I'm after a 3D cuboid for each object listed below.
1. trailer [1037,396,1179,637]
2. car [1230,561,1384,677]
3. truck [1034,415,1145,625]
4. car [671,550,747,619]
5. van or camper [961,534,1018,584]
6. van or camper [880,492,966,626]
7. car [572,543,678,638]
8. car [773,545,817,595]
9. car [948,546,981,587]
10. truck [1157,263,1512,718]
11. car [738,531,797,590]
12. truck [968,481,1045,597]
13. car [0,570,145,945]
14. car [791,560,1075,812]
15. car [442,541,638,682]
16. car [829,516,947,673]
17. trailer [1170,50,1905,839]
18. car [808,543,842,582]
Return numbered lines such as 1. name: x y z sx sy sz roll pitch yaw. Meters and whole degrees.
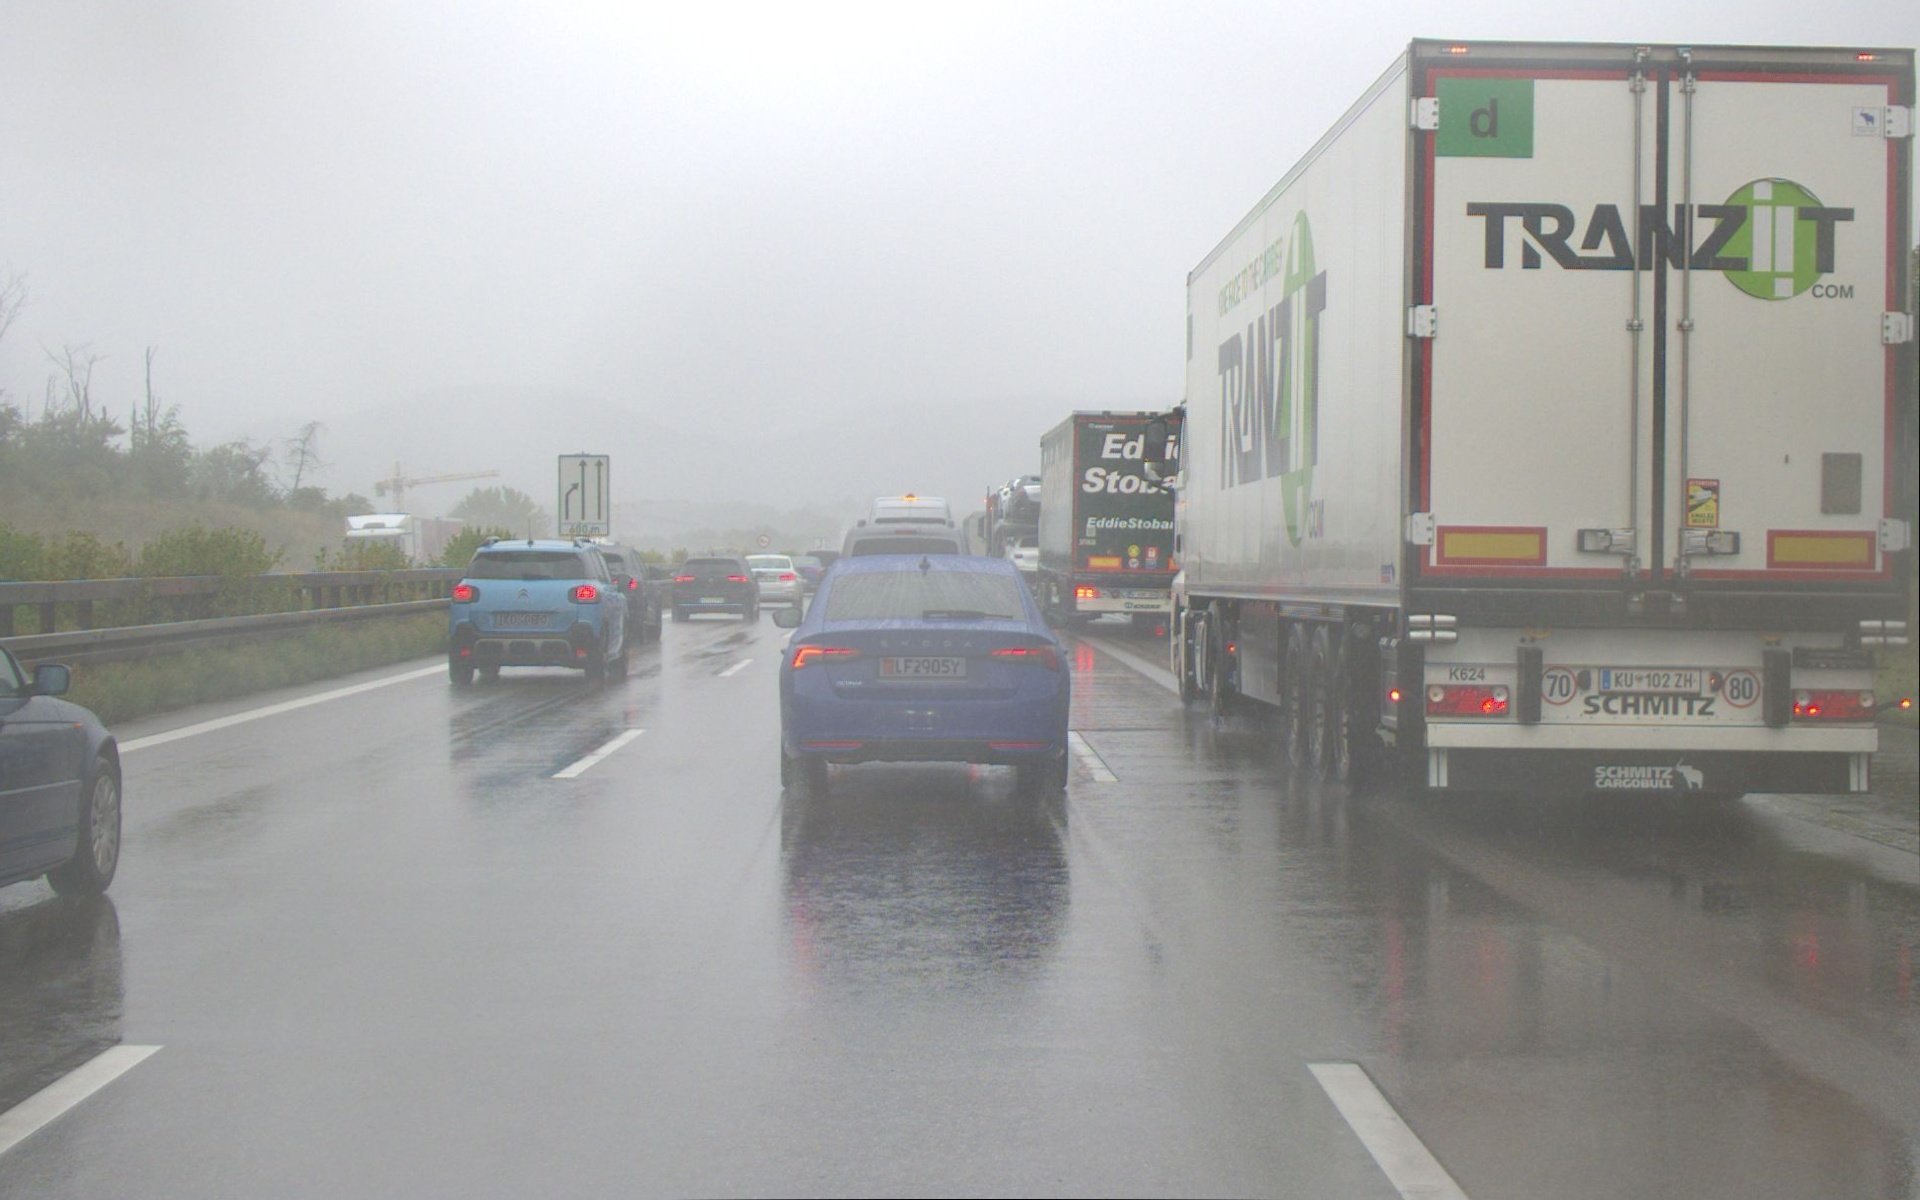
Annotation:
1. trailer: 2.692 -1.548 65.322 2.047 4.162 11.449 0 1 -1
2. car: 4.063 0.200 40.626 1.423 1.284 3.461 0 1 -1
3. truck: 2.626 -1.640 70.590 2.047 4.178 4.000 0 1 -1
4. car: -5.376 -0.349 73.813 1.439 1.415 3.322 0 1 -1
5. van or camper: 0.977 -1.397 115.461 1.771 1.619 4.484 0 1 -1
6. van or camper: -0.805 -0.893 74.208 1.797 2.797 4.768 0 1 -1
7. car: -5.196 -0.166 53.546 1.359 1.426 3.364 0 1 -1
8. car: -6.000 -1.103 125.187 1.448 1.777 3.409 1 0 -1
9. car: 0.194 -1.507 154.103 1.448 1.777 3.409 1 0 -1
10. truck: 3.287 -0.961 31.307 2.630 3.814 4.791 0 1 -1
11. car: -5.126 -1.069 91.742 1.439 1.528 3.322 0 1 -1
12. truck: 1.386 -1.896 105.717 1.993 3.410 8.033 0 1 -2
13. car: -4.462 0.592 13.088 1.718 1.395 4.230 0 1 0
14. car: -0.154 0.472 21.825 1.635 1.440 4.000 0 1 0
15. car: -4.711 0.099 39.029 1.721 1.518 4.000 0 1 0
16. car: -0.836 -0.095 40.661 1.336 1.774 3.322 0 1 -1
17. trailer: 3.381 -0.919 24.794 2.630 3.999 14.630 0 1 -1
18. car: -6.217 -1.743 158.704 1.448 1.777 3.409 1 0 -1
